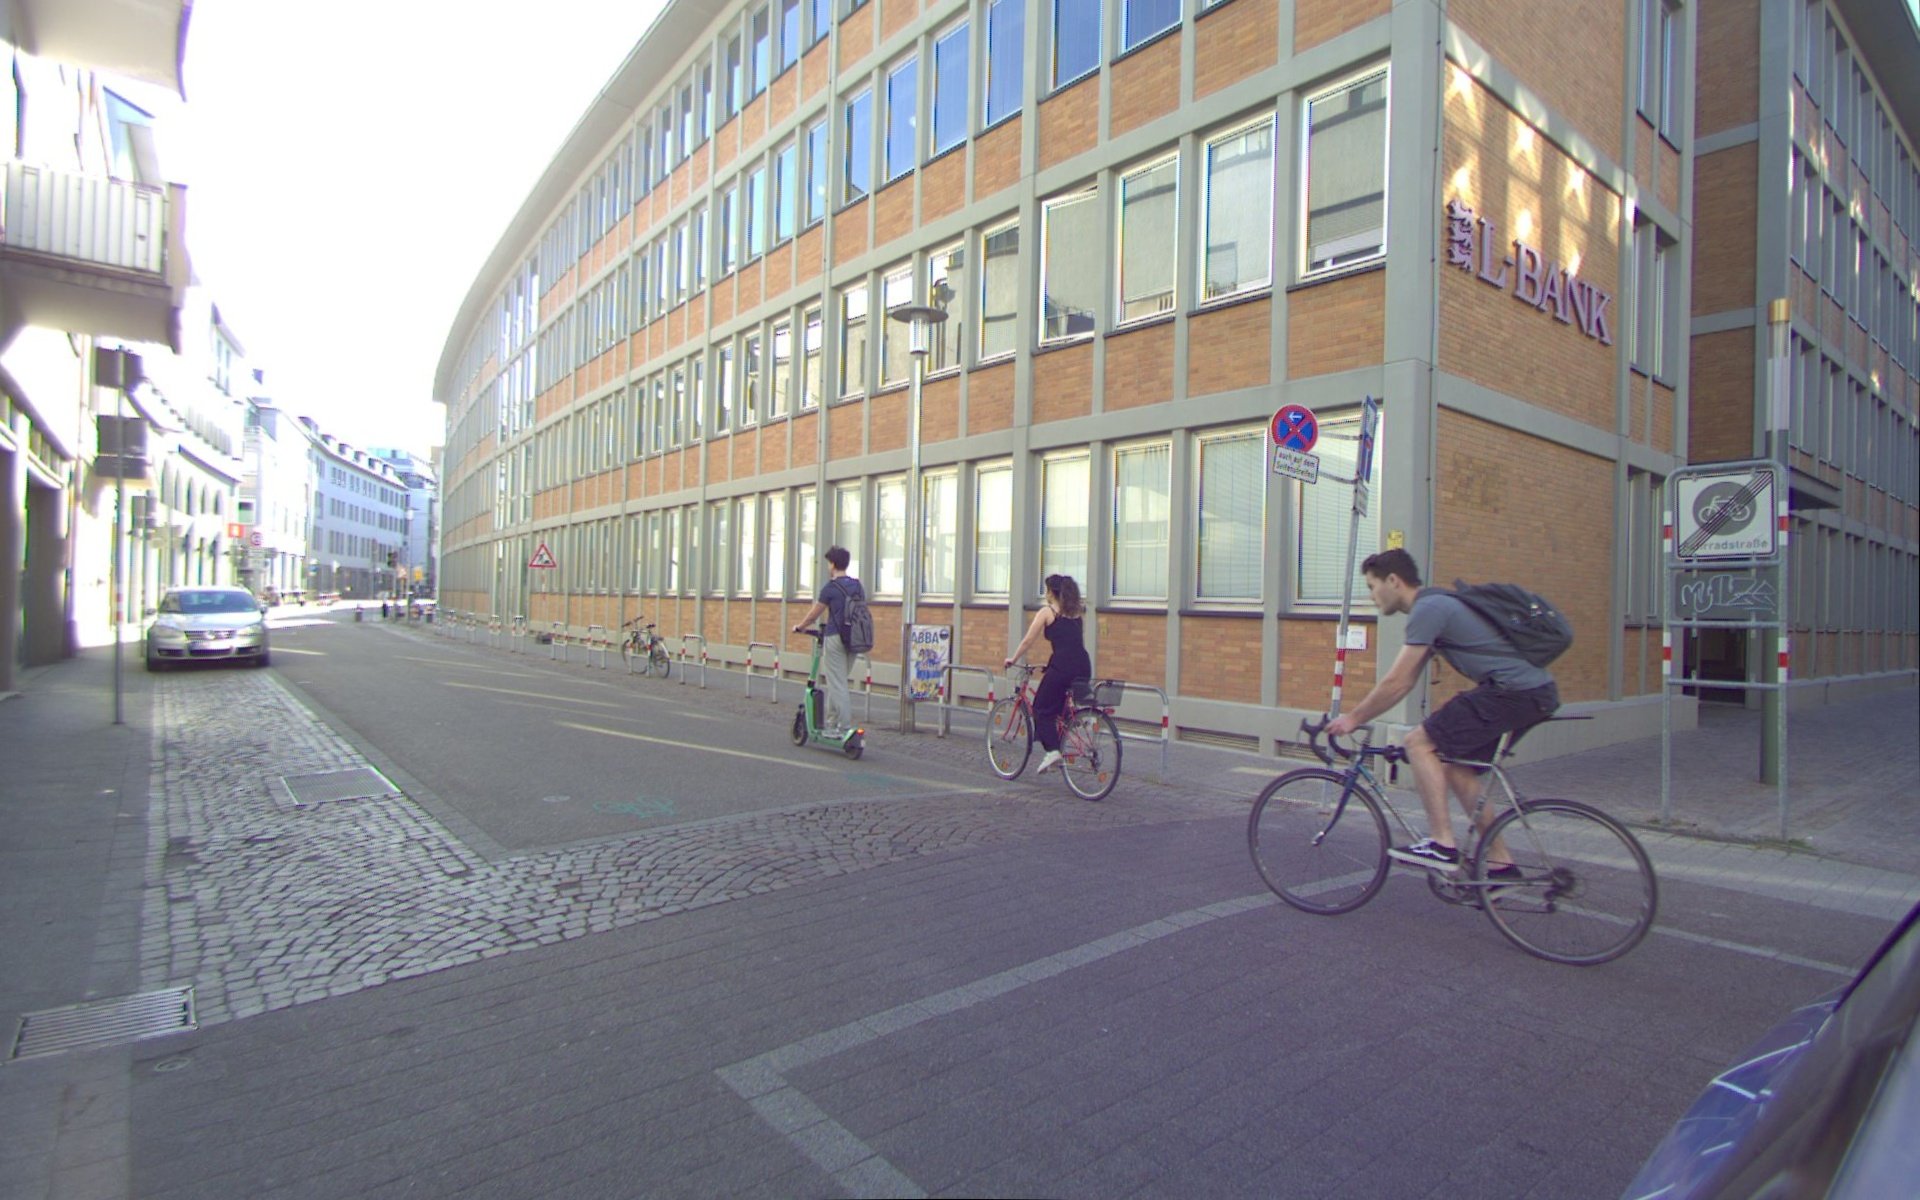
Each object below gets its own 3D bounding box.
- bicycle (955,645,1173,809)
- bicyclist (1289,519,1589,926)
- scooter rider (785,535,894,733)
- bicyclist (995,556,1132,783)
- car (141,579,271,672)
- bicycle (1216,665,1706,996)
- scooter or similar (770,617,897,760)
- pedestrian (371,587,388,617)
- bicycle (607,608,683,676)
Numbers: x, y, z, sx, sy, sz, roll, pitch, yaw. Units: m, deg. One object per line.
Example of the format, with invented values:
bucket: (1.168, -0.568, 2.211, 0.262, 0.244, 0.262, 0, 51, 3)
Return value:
bicycle: (0.774, 0.942, 8.039, 0.580, 1.065, 1.799, 4, -2, -39)
bicyclist: (2.128, 0.465, 4.509, 1.102, 1.578, 0.641, 1, 0, 35)
scooter rider: (-1.116, 0.290, 9.392, 0.698, 1.748, 0.640, 2, 1, 38)
bicyclist: (0.815, 0.526, 8.031, 0.609, 1.688, 0.823, 5, -2, -39)
car: (-13.773, 0.374, 18.474, 1.739, 1.488, 3.811, -1, 2, -38)
bicycle: (2.136, 0.894, 4.471, 1.825, 1.065, 0.566, 3, -3, 36)
scooter or similar: (-1.208, 0.798, 9.494, 1.273, 1.201, 0.332, 3, -1, 40)
pedestrian: (-28.283, 0.091, 49.294, 0.647, 1.459, 0.595, 1, 0, -36)
bicycle: (-5.773, 0.741, 18.468, 0.626, 1.130, 1.928, 1, 0, -39)
